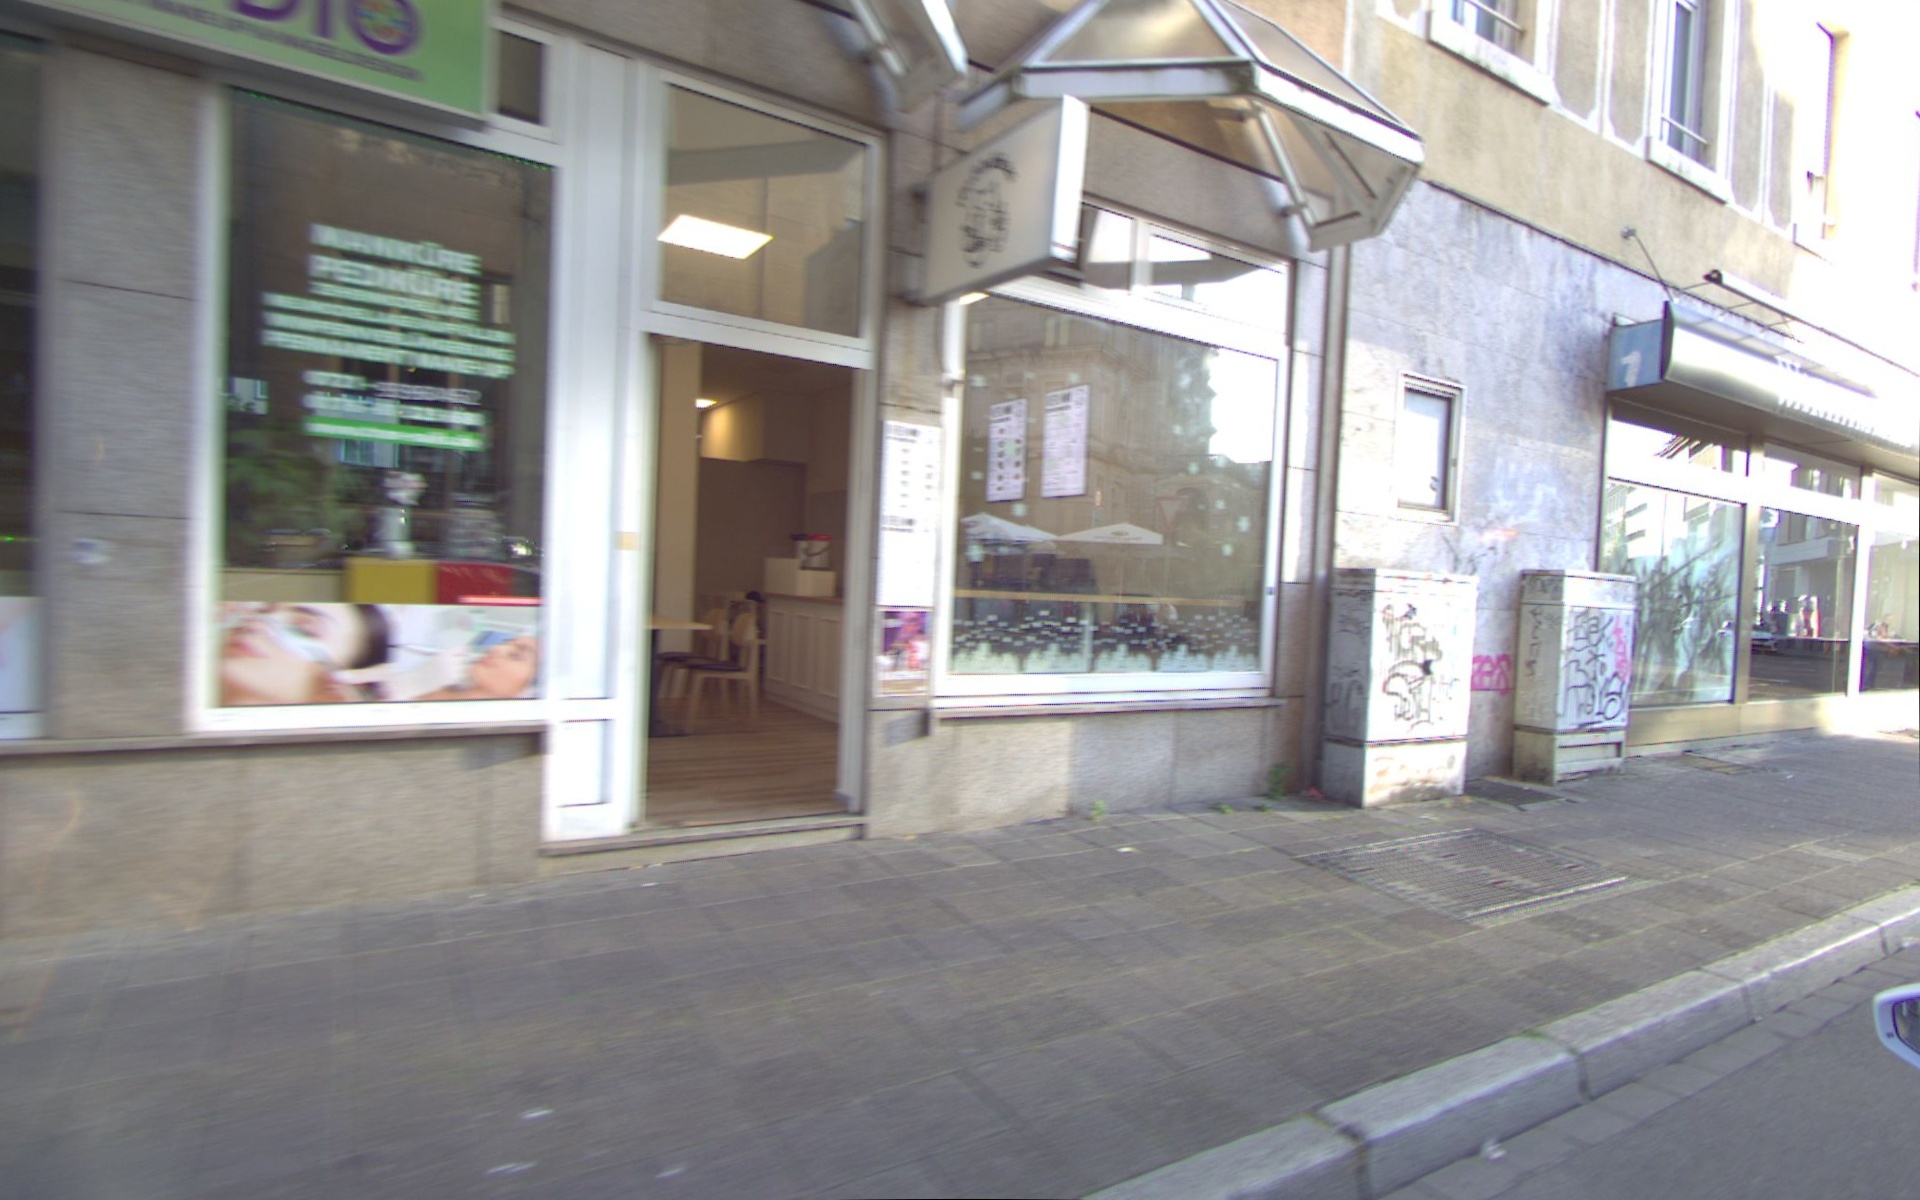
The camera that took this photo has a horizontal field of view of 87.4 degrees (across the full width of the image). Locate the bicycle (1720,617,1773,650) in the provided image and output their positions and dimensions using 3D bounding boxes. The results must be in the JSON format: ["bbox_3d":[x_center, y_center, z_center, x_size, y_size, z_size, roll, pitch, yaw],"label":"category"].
[{"bbox_3d":[33.471,1.418,42.764,0.503,1.271,1.977,3,2,-3],"label":"bicycle"}]

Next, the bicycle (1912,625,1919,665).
[{"bbox_3d":[31.279,1.484,31.712,1.941,1.271,0.513,3,2,-3],"label":"bicycle"}]

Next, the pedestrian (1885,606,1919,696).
[{"bbox_3d":[18.055,0.961,18.795,0.793,1.634,0.731,2,2,-21],"label":"pedestrian"}]
